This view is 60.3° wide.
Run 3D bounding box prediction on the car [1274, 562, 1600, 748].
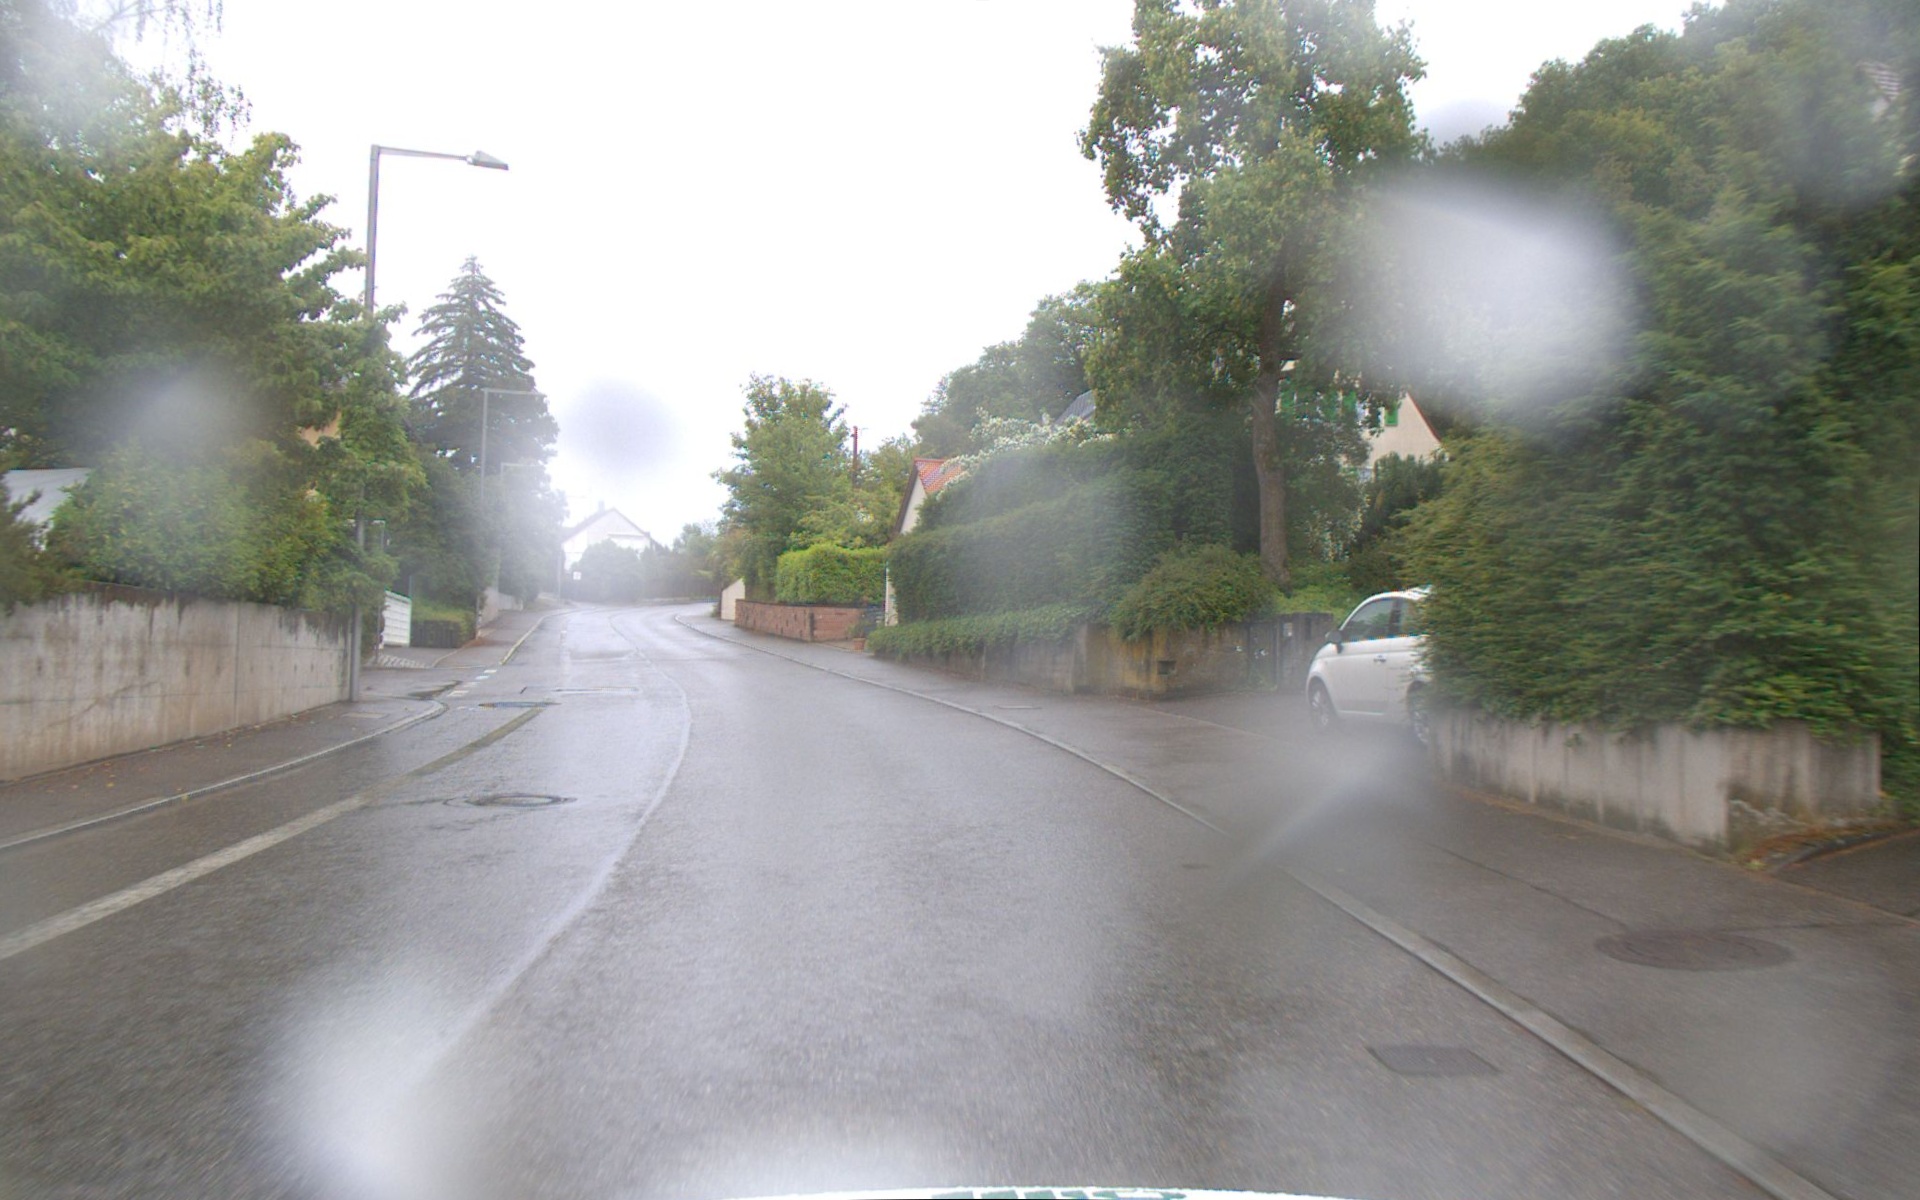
[{"bbox_3d":[4.719,0.469,16.939,1.505,1.561,3.834,-5,2,-12],"label":"car"}]
